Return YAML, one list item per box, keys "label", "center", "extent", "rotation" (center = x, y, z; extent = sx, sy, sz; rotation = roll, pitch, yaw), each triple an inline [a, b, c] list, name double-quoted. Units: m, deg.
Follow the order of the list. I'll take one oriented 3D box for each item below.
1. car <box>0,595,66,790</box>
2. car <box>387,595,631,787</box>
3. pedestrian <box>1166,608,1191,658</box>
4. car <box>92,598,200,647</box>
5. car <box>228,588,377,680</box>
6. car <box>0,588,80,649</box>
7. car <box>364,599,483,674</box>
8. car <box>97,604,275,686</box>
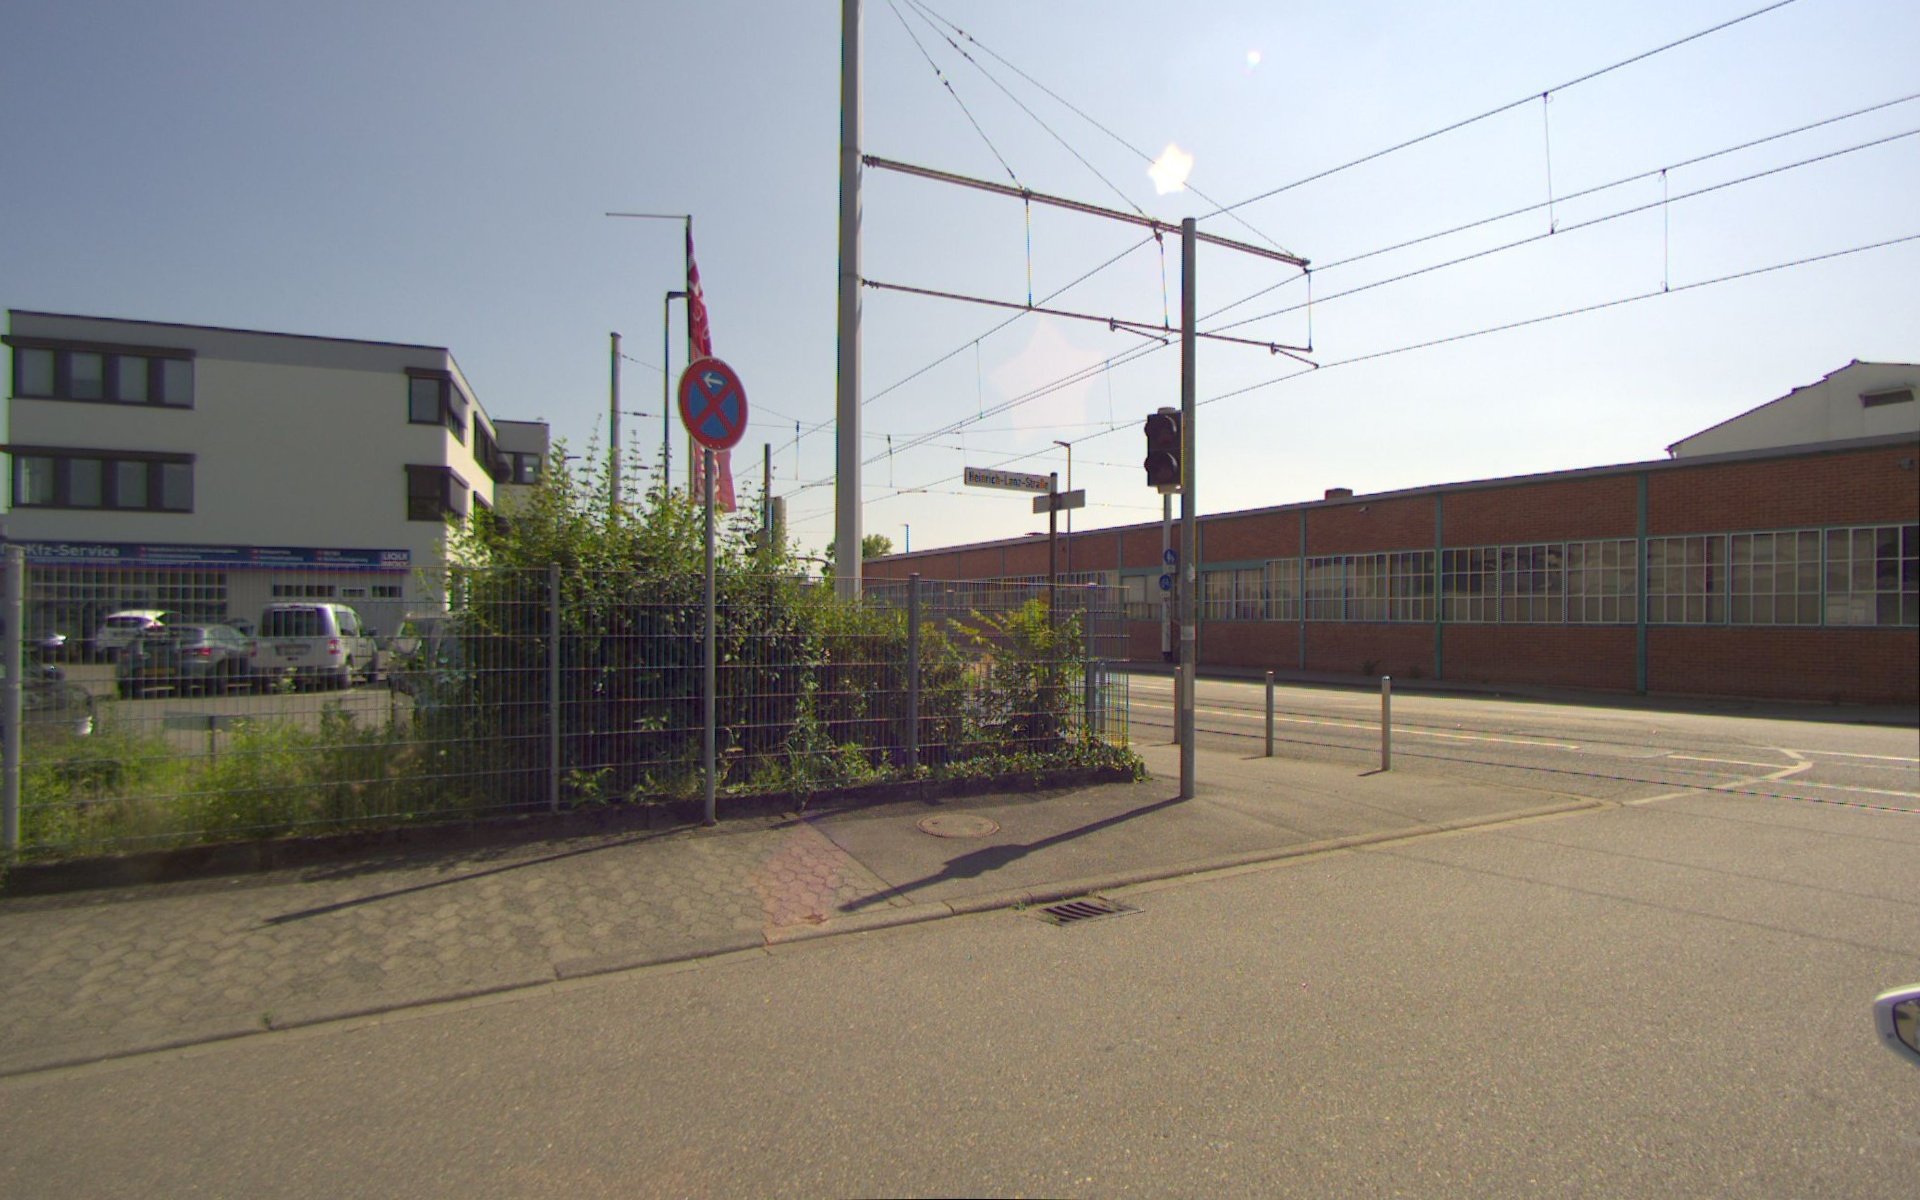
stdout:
- label: "car"
  center: [-8.683, 0.737, 7.895]
  extent: [1.836, 1.562, 3.803]
  rotation: [1, -1, -32]
- label: "car"
  center: [-4.706, 0.762, 10.158]
  extent: [1.785, 1.532, 3.874]
  rotation: [1, -1, -31]
- label: "pedestrian"
  center: [8.005, 1.214, 36.786]
  extent: [0.676, 1.788, 0.447]
  rotation: [1, 1, -22]
- label: "car"
  center: [-24.986, 0.688, 30.954]
  extent: [1.398, 1.445, 3.123]
  rotation: [0, -1, -15]
- label: "car"
  center: [-14.495, 0.736, 22.397]
  extent: [1.899, 1.847, 4.021]
  rotation: [0, -1, -21]
- label: "car"
  center: [-28.013, 0.559, 29.774]
  extent: [1.975, 1.706, 3.972]
  rotation: [1, -1, -28]
- label: "car"
  center: [-12.368, 0.808, 23.401]
  extent: [1.828, 1.589, 3.918]
  rotation: [1, -1, -19]
- label: "car"
  center: [-16.417, 0.898, 21.569]
  extent: [1.899, 1.578, 4.021]
  rotation: [1, -1, -21]
